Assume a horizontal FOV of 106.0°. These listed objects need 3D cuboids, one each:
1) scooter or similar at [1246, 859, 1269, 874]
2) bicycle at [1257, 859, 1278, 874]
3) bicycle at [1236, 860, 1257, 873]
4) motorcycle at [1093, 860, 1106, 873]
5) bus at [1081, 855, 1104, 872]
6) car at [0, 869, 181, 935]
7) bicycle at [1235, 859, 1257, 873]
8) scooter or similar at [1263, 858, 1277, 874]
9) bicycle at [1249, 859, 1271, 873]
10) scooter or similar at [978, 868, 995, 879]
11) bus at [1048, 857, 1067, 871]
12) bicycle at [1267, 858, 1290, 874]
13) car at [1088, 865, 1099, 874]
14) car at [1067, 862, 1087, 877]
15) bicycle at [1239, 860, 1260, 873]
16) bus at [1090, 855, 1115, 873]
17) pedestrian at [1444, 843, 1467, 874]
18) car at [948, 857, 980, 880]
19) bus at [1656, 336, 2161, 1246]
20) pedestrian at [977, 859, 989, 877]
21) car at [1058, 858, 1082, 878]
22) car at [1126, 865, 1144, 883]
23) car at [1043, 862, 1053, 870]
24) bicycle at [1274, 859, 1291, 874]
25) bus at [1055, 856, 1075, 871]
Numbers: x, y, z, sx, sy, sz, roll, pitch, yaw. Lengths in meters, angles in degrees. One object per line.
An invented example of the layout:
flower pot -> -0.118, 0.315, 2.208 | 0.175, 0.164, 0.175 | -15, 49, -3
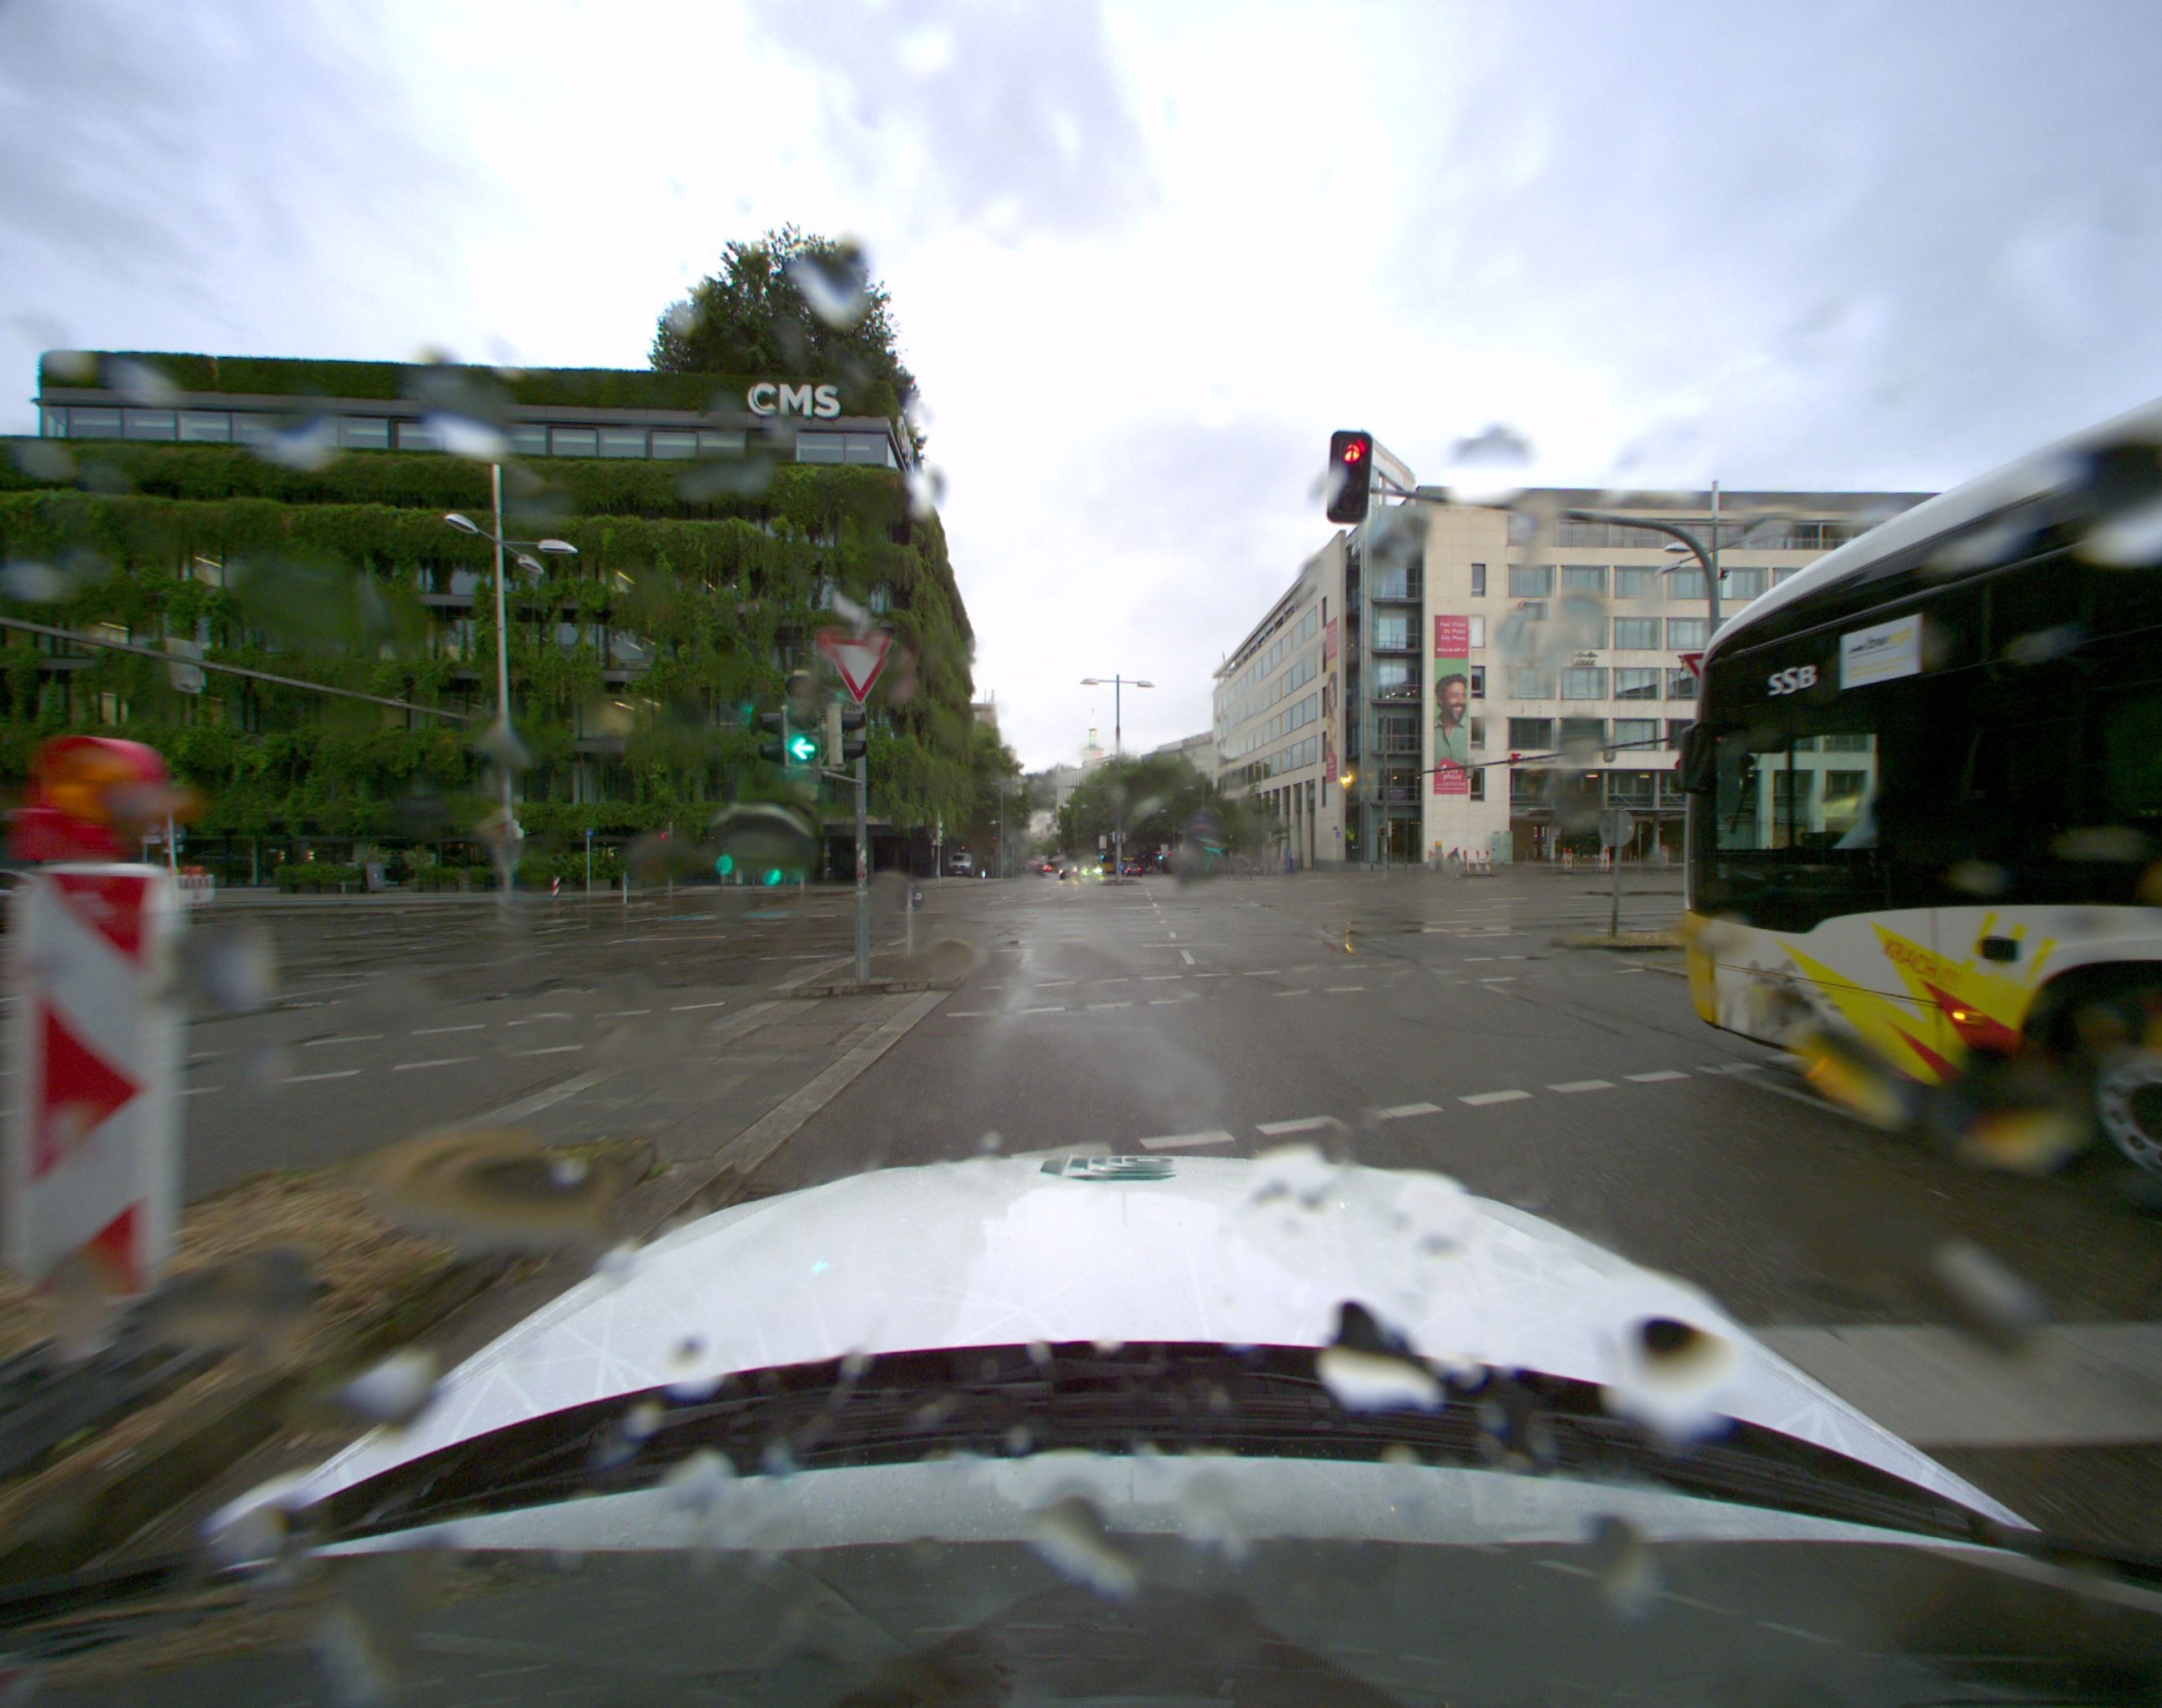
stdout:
scooter or similar -> 14.912, 1.048, 68.856 | 1.770, 1.194, 0.587 | 0, -1, 3
bicycle -> 14.728, 0.971, 64.271 | 0.588, 1.194, 1.768 | 0, -1, -26
bicycle -> 14.478, 1.093, 71.294 | 1.770, 1.194, 0.587 | 0, -1, 3
motorcycle -> 2.292, 1.565, 102.931 | 1.547, 1.515, 4.382 | 0, -1, -1
bus -> 2.066, 1.806, 151.347 | 2.631, 2.995, 7.414 | -1, 0, -13
car -> -26.164, 1.177, 20.162 | 4.901, 1.488, 1.924 | -1, 0, -15
bicycle -> 14.302, 1.084, 70.664 | 1.770, 1.194, 0.587 | 0, -1, 3
scooter or similar -> 14.418, 0.935, 62.041 | 0.951, 1.194, 0.458 | -1, -2, 42
bicycle -> 15.292, 1.056, 69.470 | 1.770, 1.194, 0.587 | 0, -1, 3
scooter or similar -> -9.412, 1.923, 81.023 | 0.616, 1.004, 1.671 | -1, -1, 40
bus -> -5.136, 2.166, 178.786 | 2.631, 2.995, 7.414 | -1, 0, -13
bicycle -> 15.200, 0.941, 62.706 | 1.607, 1.194, 0.590 | -1, -1, 27
car -> 2.178, 2.590, 140.395 | 1.775, 1.508, 4.001 | 0, -1, 2
car -> -0.469, 1.798, 94.250 | 2.158, 1.765, 5.109 | 0, -1, -1
bicycle -> 14.946, 1.105, 72.201 | 1.770, 1.194, 0.587 | 0, -1, 3
bus -> 3.752, 1.721, 144.154 | 2.631, 2.995, 7.414 | -1, 0, -13
pedestrian -> 21.852, 0.263, 47.528 | 0.958, 1.817, 0.836 | 0, -1, 1
car -> -9.556, 1.192, 66.815 | 1.863, 1.839, 4.001 | 0, -1, 2
bus -> 5.463, -0.280, 0.989 | 2.872, 3.451, 9.760 | 0, -1, 2
pedestrian -> -8.916, 1.307, 74.203 | 0.930, 1.644, 0.774 | 0, -1, 1
car -> -1.001, 1.277, 75.619 | 2.158, 1.765, 5.109 | 0, -1, -1
car -> 6.261, 2.261, 94.084 | 1.535, 2.014, 4.679 | -1, -1, 9
car -> -7.229, 2.629, 178.007 | 1.775, 1.508, 4.001 | 0, -1, 2
bicycle -> 16.052, 0.970, 64.796 | 0.579, 1.194, 1.794 | -1, -1, 40
bus -> -3.447, 2.065, 171.643 | 2.631, 2.995, 7.293 | -1, 0, -13
